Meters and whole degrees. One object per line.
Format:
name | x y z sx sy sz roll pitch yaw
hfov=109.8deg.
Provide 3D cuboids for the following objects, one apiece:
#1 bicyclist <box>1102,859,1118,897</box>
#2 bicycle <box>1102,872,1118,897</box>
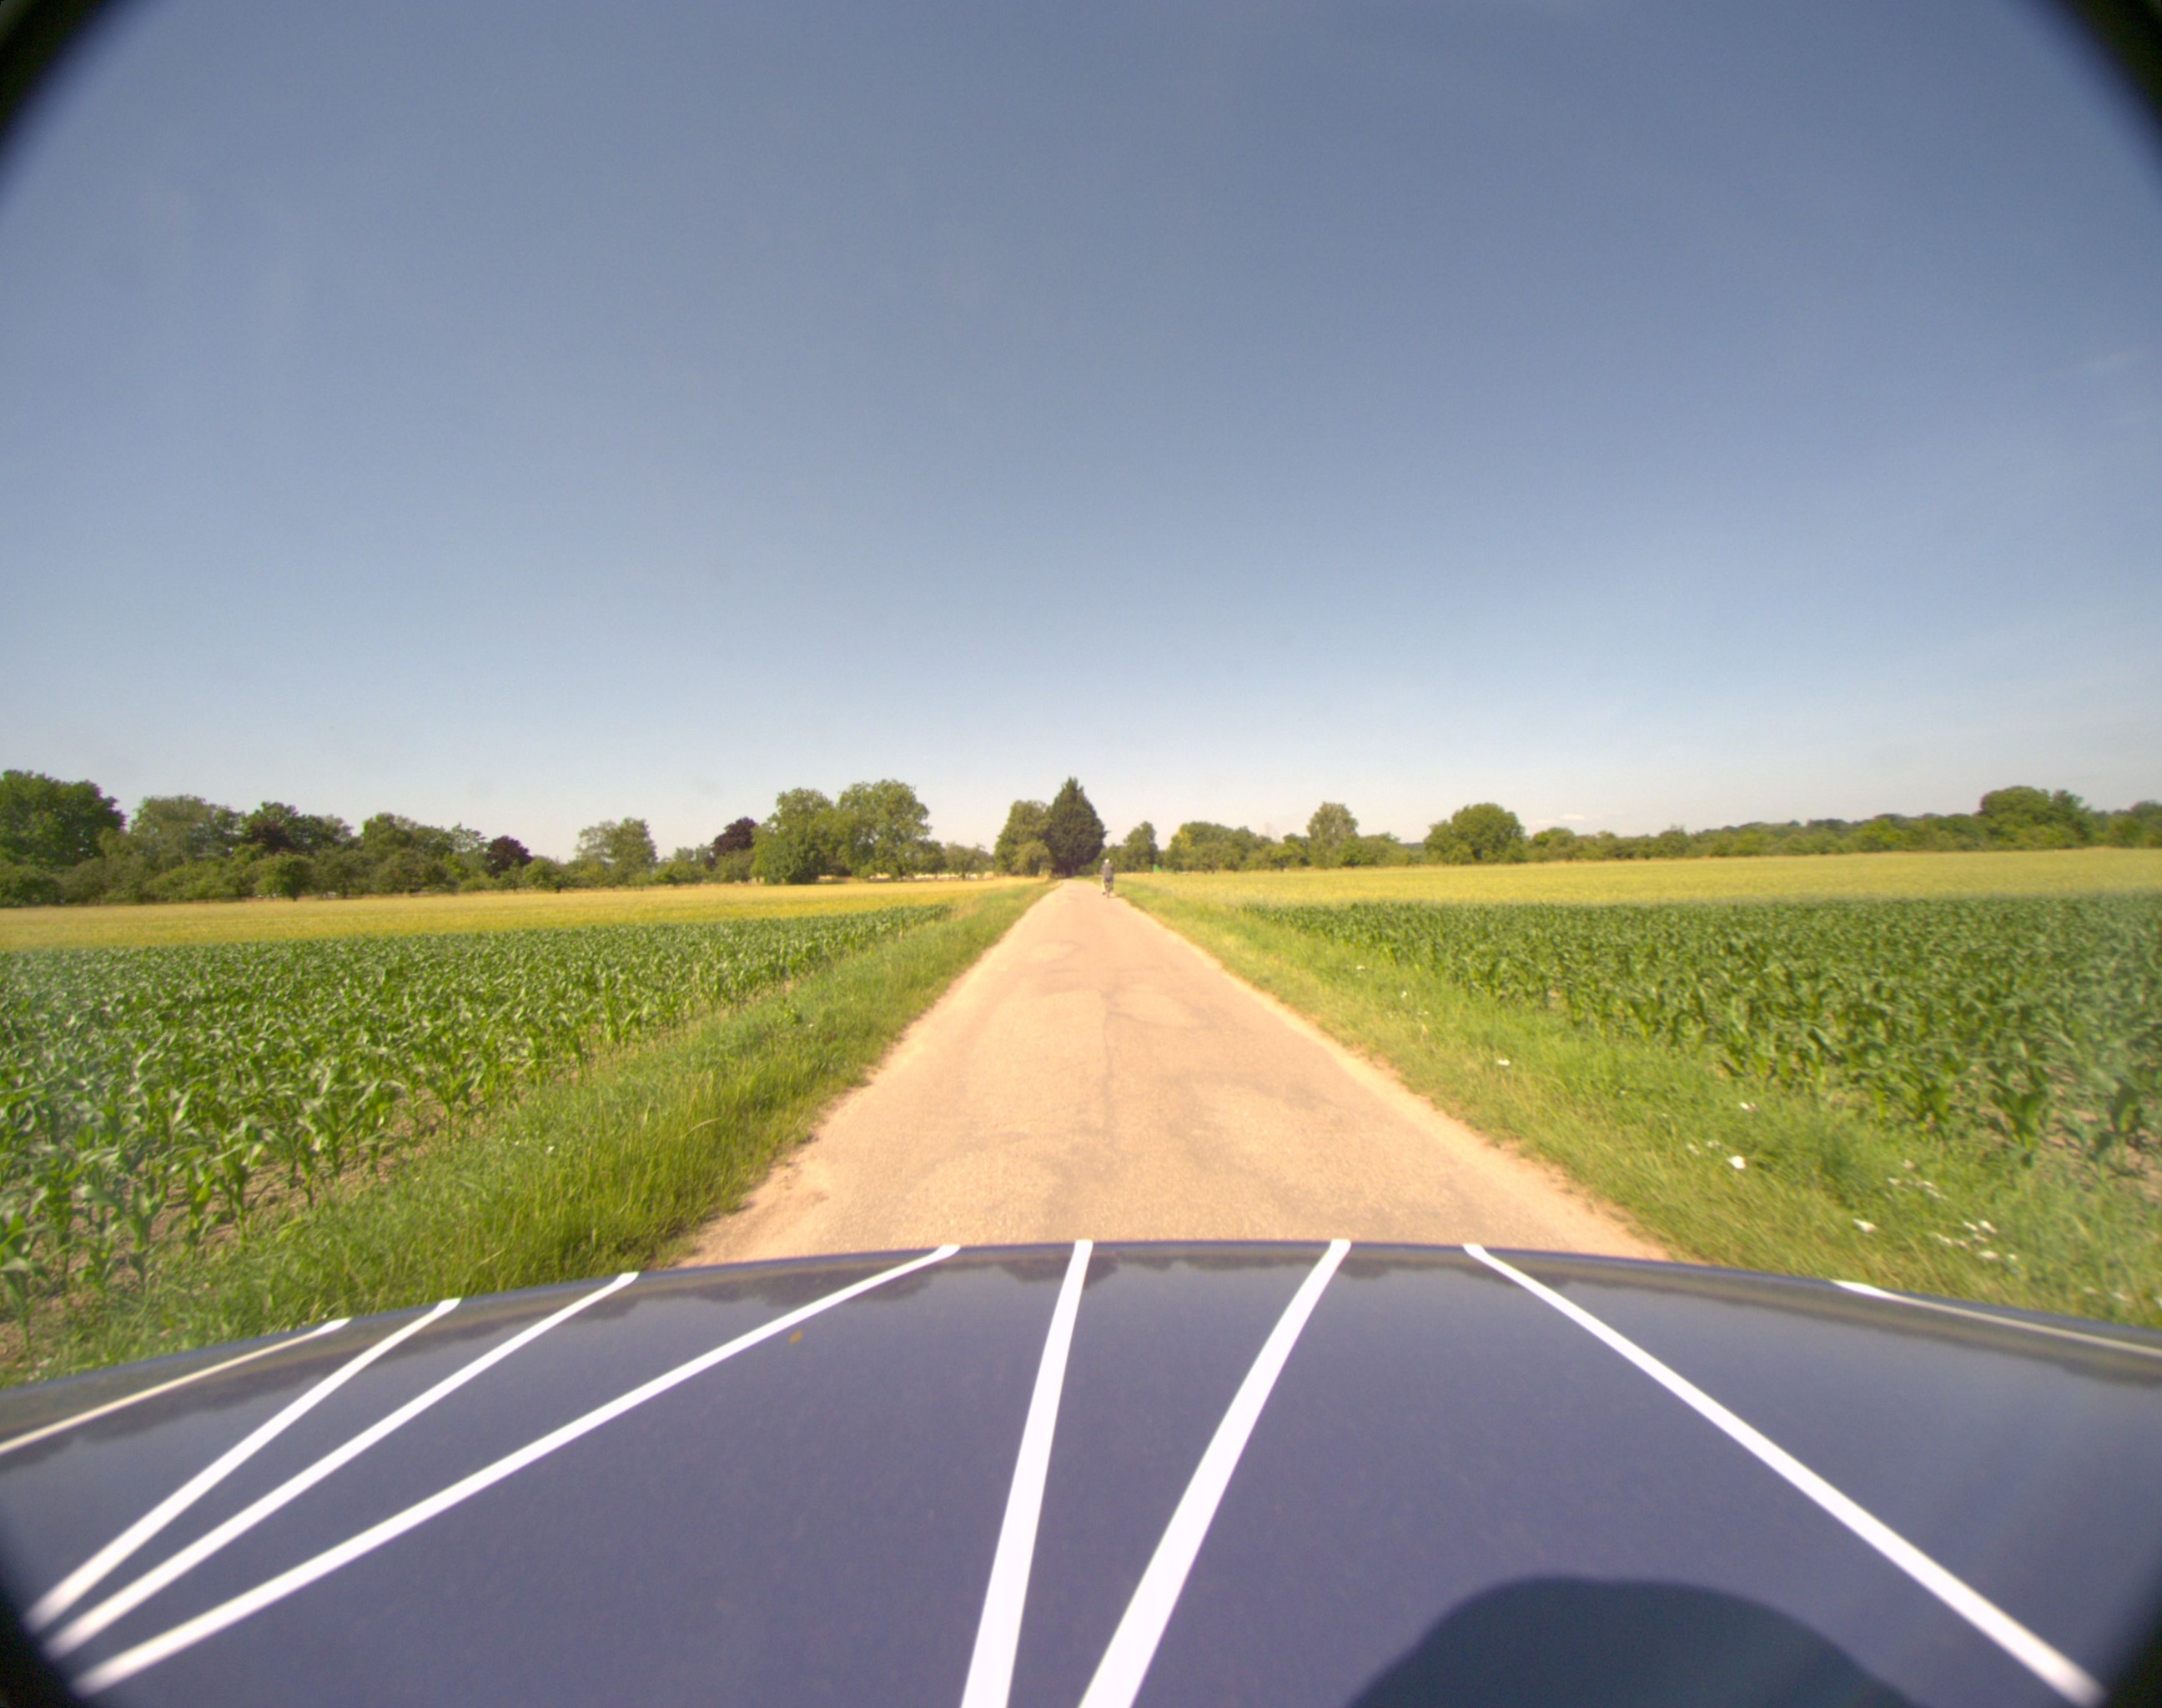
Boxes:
bicyclist | 1.371 1.114 36.128 0.752 1.781 0.717 0 0 3
bicycle | 1.377 1.436 36.181 0.752 1.121 1.909 0 0 3
